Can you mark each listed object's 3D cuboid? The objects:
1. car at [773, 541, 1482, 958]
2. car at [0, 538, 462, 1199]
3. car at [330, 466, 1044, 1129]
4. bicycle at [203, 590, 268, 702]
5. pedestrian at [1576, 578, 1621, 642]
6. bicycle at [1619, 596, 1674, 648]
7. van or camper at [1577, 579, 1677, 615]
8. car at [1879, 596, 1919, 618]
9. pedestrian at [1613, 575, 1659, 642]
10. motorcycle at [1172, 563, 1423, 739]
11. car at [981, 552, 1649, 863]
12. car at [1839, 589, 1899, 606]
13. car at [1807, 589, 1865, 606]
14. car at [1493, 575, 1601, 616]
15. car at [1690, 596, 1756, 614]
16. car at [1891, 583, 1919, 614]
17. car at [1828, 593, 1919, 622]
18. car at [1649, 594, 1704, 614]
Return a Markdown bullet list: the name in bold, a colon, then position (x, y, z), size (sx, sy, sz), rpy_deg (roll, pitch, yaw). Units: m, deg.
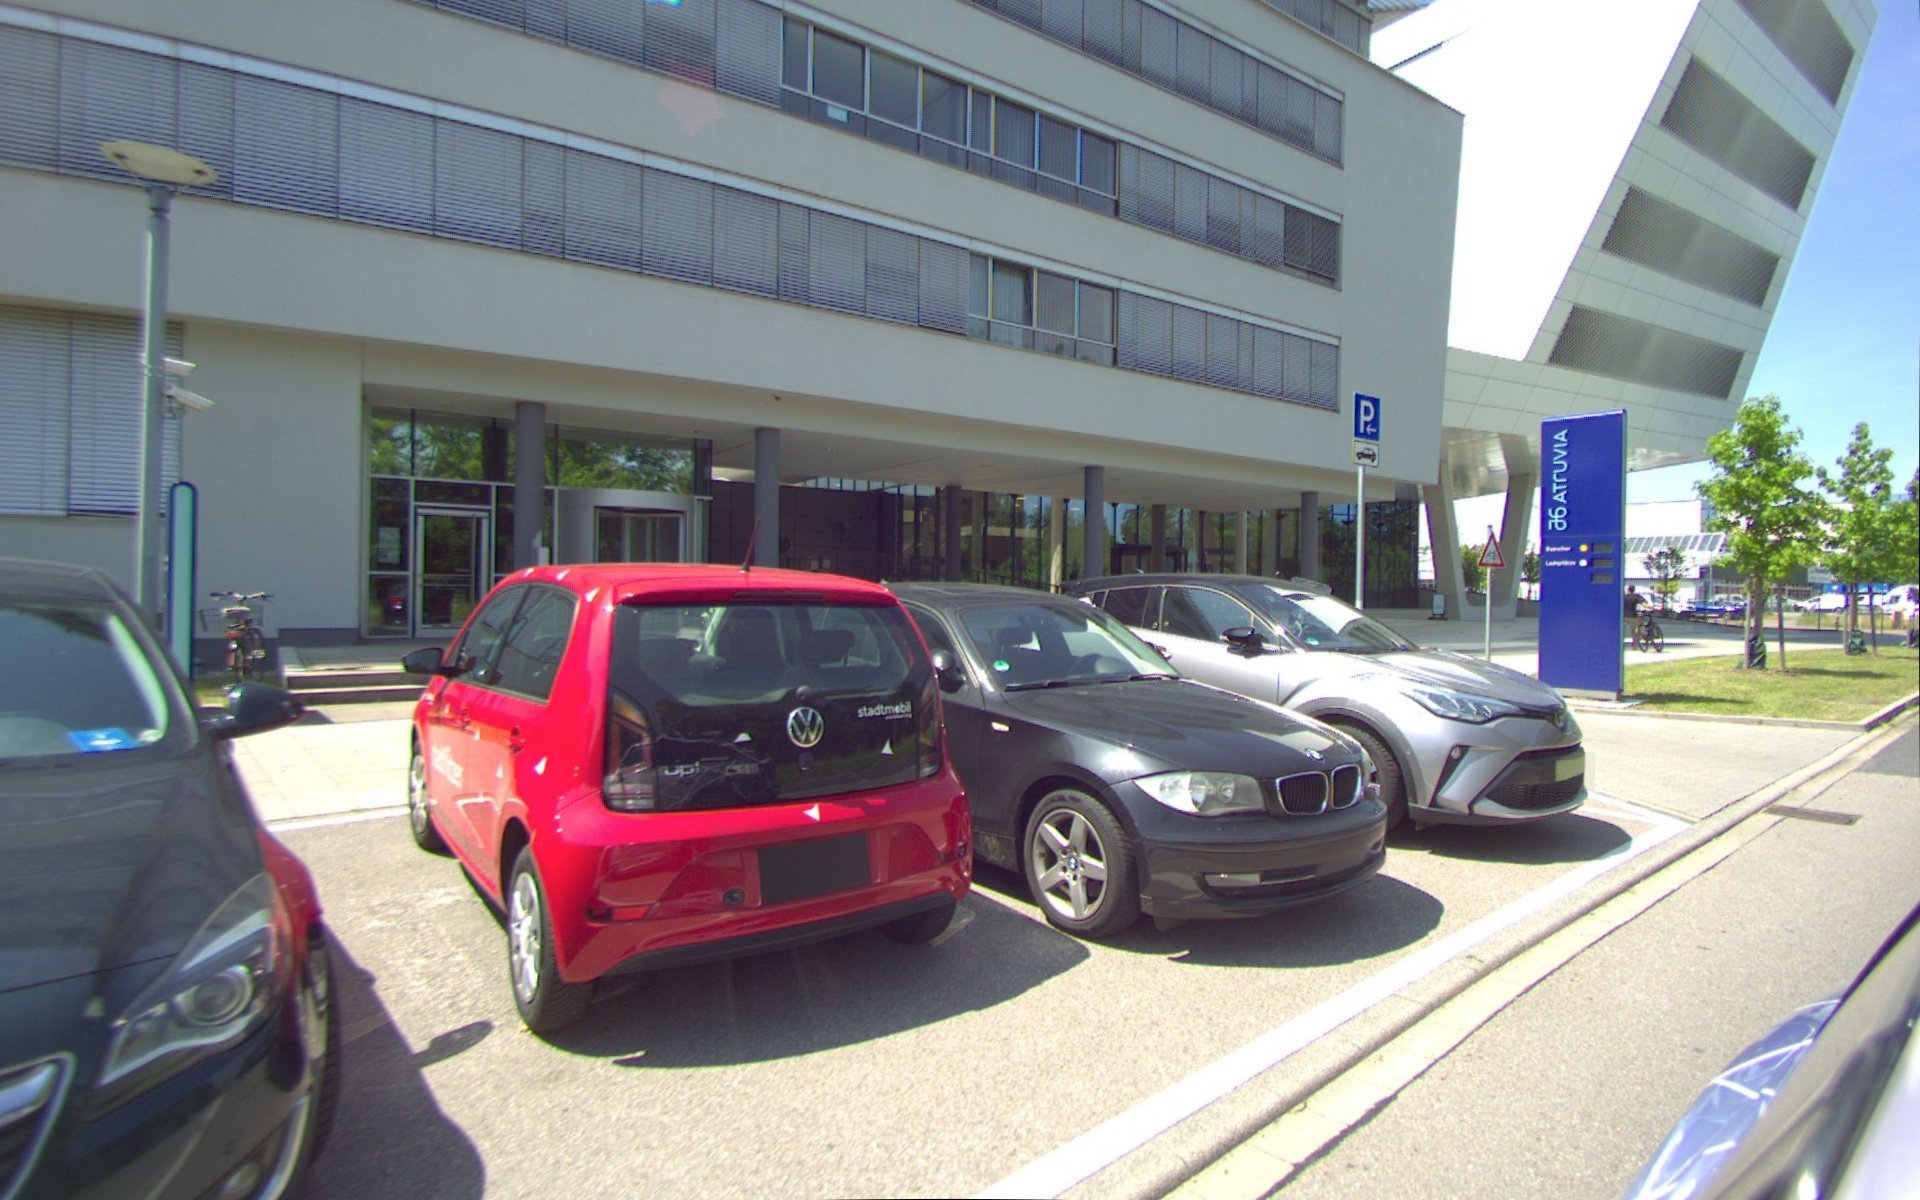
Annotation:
- **car**: position (0.581, 0.473, 5.661), size (1.625, 1.504, 3.818), rpy_deg (0, 2, -38)
- **car**: position (-2.999, 0.555, 2.809), size (1.796, 1.449, 4.576), rpy_deg (0, 3, -41)
- **car**: position (-1.630, 0.451, 4.698), size (1.806, 1.675, 3.998), rpy_deg (0, 1, -38)
- **bicycle**: position (-7.646, 0.445, 10.687), size (0.524, 1.074, 1.883), rpy_deg (0, 0, -36)
- **pedestrian**: position (17.237, 0.267, 27.332), size (0.762, 1.681, 0.843), rpy_deg (0, -1, -41)
- **bicycle**: position (17.738, 0.545, 26.116), size (2.265, 1.270, 0.644), rpy_deg (0, 0, -42)
- **van or camper**: position (46.982, -0.221, 71.403), size (1.670, 2.420, 5.707), rpy_deg (0, 0, -34)
- **car**: position (63.439, 0.448, 66.702), size (1.622, 1.411, 3.998), rpy_deg (0, 0, -37)
- **pedestrian**: position (17.821, 0.216, 26.687), size (0.762, 1.722, 0.843), rpy_deg (0, -1, -41)
- **motorcycle**: position (3.229, 0.420, 10.094), size (1.200, 1.516, 2.451), rpy_deg (2, 2, -13)
- **car**: position (2.221, 0.464, 7.408), size (1.754, 1.583, 4.332), rpy_deg (0, 2, -39)
- **car**: position (93.533, -0.249, 104.160), size (1.670, 1.678, 4.327), rpy_deg (0, 0, -34)
- **car**: position (84.374, -0.233, 97.512), size (1.670, 1.561, 3.922), rpy_deg (0, 0, -34)
- **car**: position (36.939, -0.254, 63.811), size (1.961, 2.491, 5.589), rpy_deg (0, 0, -34)
- **car**: position (58.924, 0.364, 78.174), size (1.431, 1.388, 3.821), rpy_deg (0, 0, -34)
- **car**: position (69.516, -0.122, 70.526), size (2.123, 2.177, 6.501), rpy_deg (0, 0, -34)
- **car**: position (55.418, 0.416, 61.435), size (1.709, 1.695, 3.823), rpy_deg (0, 0, -37)
- **car**: position (50.257, 0.268, 70.988), size (1.177, 1.320, 2.899), rpy_deg (0, 0, -34)
